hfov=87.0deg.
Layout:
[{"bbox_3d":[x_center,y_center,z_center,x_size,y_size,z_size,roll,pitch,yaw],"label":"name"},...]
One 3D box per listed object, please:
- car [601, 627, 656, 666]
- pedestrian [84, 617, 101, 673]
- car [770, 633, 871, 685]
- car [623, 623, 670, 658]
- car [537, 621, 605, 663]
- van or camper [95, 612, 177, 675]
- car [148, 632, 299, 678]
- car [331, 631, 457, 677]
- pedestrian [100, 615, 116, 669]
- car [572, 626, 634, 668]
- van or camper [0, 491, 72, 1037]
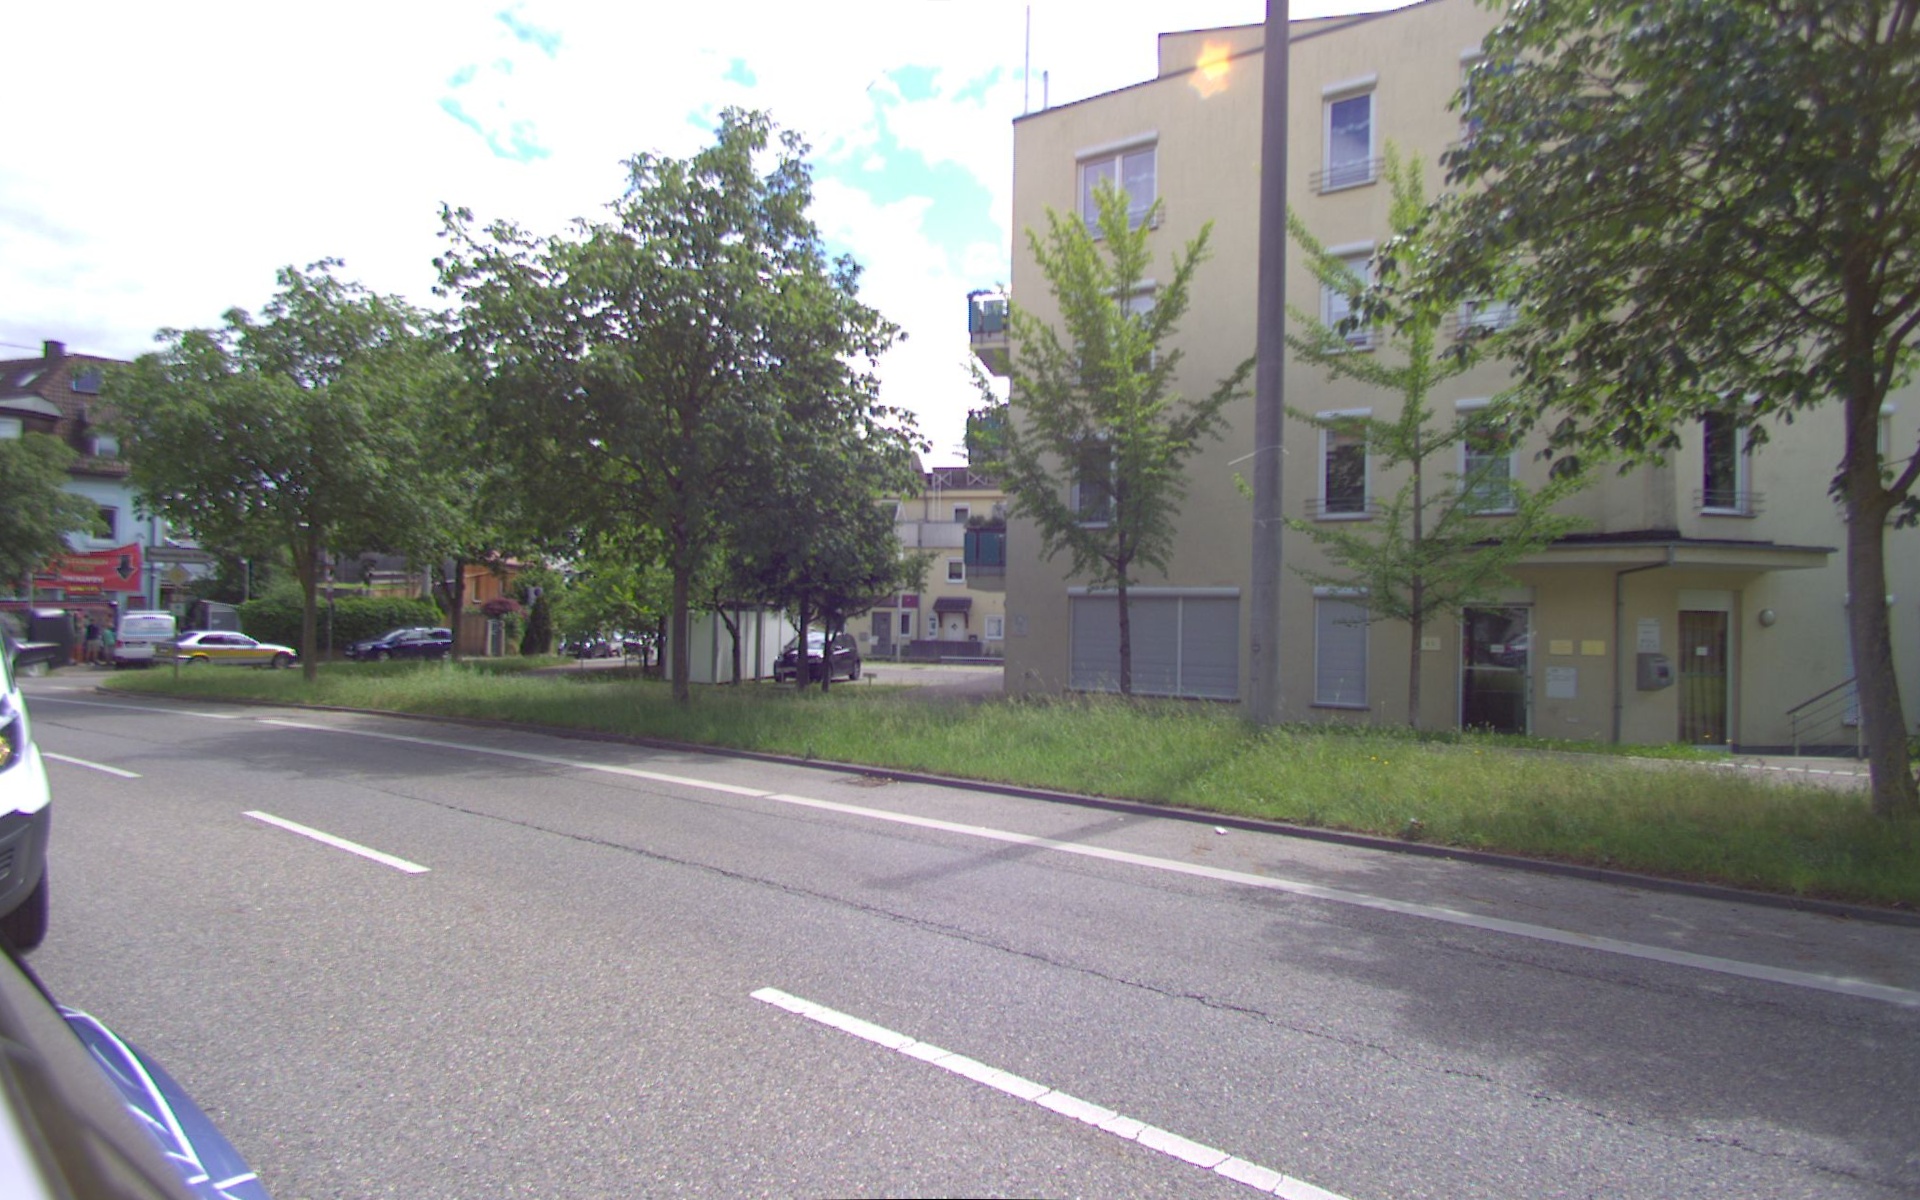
[{"bbox_3d":[-19.355,2.660,59.233,1.971,2.029,4.001,-1,0,-1],"label":"car"},{"bbox_3d":[-32.080,1.658,37.423,0.363,2.029,0.419,0,0,41],"label":"pedestrian"},{"bbox_3d":[-4.055,1.759,30.022,1.774,1.431,3.985,-1,-4,11],"label":"car"},{"bbox_3d":[-19.843,2.549,64.240,1.870,2.029,4.002,-1,0,-2],"label":"car"},{"bbox_3d":[-19.528,2.090,50.989,1.953,2.029,4.000,0,-2,0],"label":"car"},{"bbox_3d":[-29.887,1.532,36.695,3.811,2.105,1.770,0,1,43],"label":"van or camper"},{"bbox_3d":[-25.601,1.874,35.303,1.528,1.332,4.008,-1,1,27],"label":"car"},{"bbox_3d":[-22.114,2.063,39.672,1.715,1.695,3.928,0,-2,37],"label":"car"},{"bbox_3d":[-31.800,1.558,37.777,0.443,2.005,0.378,0,0,41],"label":"pedestrian"},{"bbox_3d":[-19.384,2.539,55.130,1.972,2.029,4.000,-1,0,0],"label":"car"},{"bbox_3d":[-6.007,0.636,4.892,5.102,2.029,2.000,-2,-3,43],"label":"van or camper"}]
